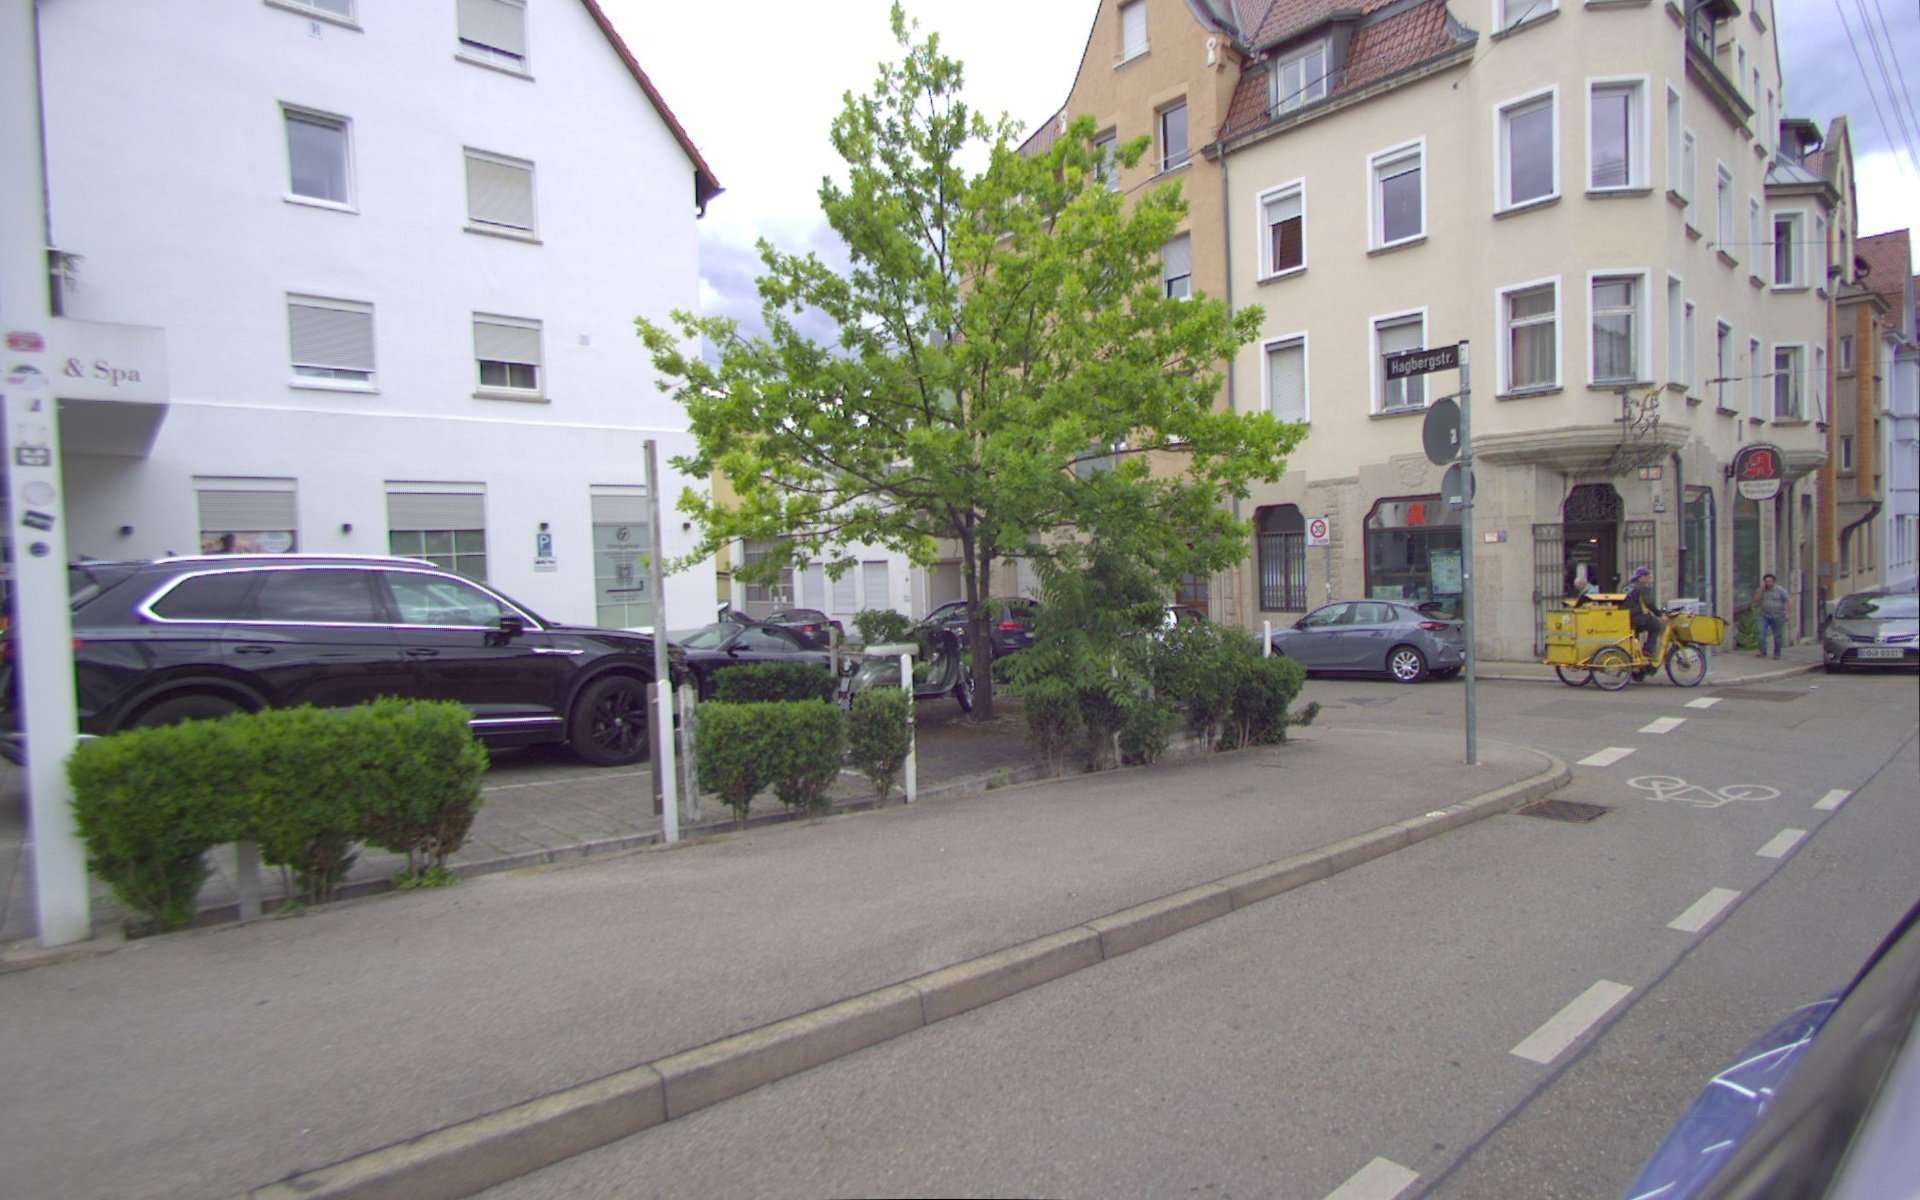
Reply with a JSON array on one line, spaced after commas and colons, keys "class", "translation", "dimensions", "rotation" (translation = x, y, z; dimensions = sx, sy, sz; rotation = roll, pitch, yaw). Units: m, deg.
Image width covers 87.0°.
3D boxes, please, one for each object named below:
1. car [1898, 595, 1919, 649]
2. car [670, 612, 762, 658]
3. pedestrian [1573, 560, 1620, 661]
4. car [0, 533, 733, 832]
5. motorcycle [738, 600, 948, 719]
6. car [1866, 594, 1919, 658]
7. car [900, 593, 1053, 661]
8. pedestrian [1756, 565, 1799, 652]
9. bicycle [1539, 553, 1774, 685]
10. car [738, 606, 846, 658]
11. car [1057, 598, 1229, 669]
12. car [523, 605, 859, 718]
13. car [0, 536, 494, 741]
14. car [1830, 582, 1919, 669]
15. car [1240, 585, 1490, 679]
[{"class": "car", "translation": [27.038, 0.553, 27.633], "dimensions": [4.235, 1.408, 1.751], "rotation": [0, -2, -43]}, {"class": "car", "translation": [-9.017, 1.250, 37.162], "dimensions": [1.554, 1.602, 3.978], "rotation": [0, -1, -43]}, {"class": "pedestrian", "translation": [11.364, 0.186, 18.076], "dimensions": [0.482, 1.790, 0.485], "rotation": [0, -1, -8]}, {"class": "car", "translation": [-4.521, 0.464, 8.066], "dimensions": [5.010, 1.704, 1.995], "rotation": [0, 0, -44]}, {"class": "motorcycle", "translation": [-1.346, 0.647, 12.039], "dimensions": [2.346, 1.118, 0.928], "rotation": [-6, 3, -43]}, {"class": "car", "translation": [22.589, 0.563, 23.565], "dimensions": [4.612, 1.408, 1.781], "rotation": [0, -2, -43]}, {"class": "car", "translation": [0.347, 0.661, 25.699], "dimensions": [1.554, 1.602, 3.978], "rotation": [0, -1, -43]}, {"class": "pedestrian", "translation": [17.350, 0.175, 21.485], "dimensions": [0.621, 1.826, 0.600], "rotation": [0, 0, -41]}, {"class": "bicycle", "translation": [10.424, 0.279, 15.253], "dimensions": [2.677, 1.890, 1.182], "rotation": [0, -1, 1]}, {"class": "car", "translation": [-5.544, 1.008, 33.060], "dimensions": [1.554, 1.602, 3.978], "rotation": [0, -1, -43]}, {"class": "car", "translation": [3.912, 0.692, 22.015], "dimensions": [1.554, 1.406, 3.436], "rotation": [0, -1, -43]}, {"class": "car", "translation": [-3.721, 0.811, 14.477], "dimensions": [4.251, 1.372, 1.912], "rotation": [2, -2, -43]}, {"class": "car", "translation": [-8.152, 0.358, 11.746], "dimensions": [4.624, 1.936, 1.995], "rotation": [0, 0, -43]}, {"class": "car", "translation": [18.599, 0.469, 19.962], "dimensions": [4.498, 1.557, 1.736], "rotation": [0, -2, -44]}, {"class": "car", "translation": [7.103, 0.535, 18.027], "dimensions": [1.554, 1.482, 3.850], "rotation": [0, -1, -43]}]
